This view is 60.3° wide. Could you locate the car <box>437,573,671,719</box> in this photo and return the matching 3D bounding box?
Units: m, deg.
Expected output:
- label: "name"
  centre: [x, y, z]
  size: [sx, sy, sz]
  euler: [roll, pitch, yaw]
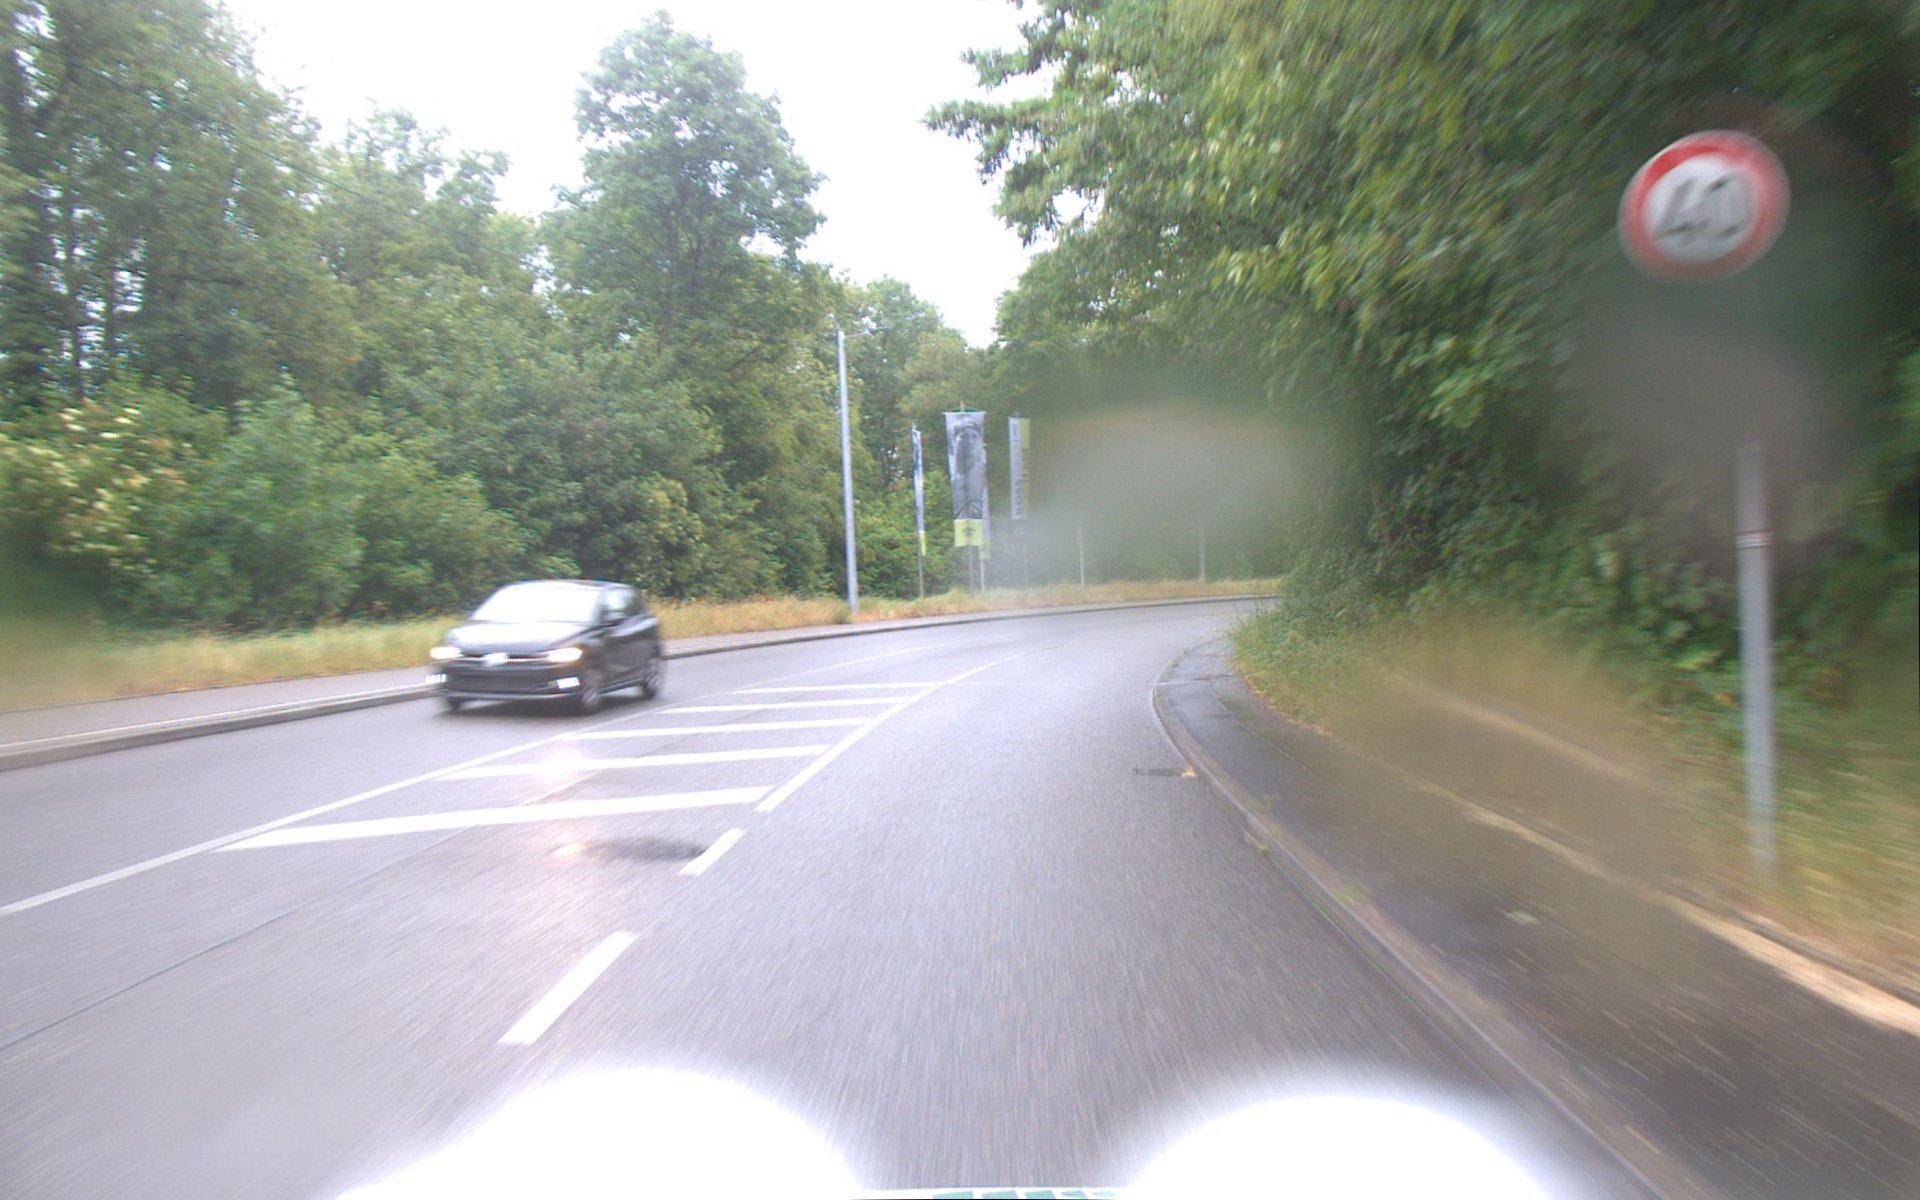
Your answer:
- label: "car"
  centre: [-4.600, 0.462, 19.284]
  size: [1.561, 1.503, 3.794]
  euler: [1, 1, 4]
